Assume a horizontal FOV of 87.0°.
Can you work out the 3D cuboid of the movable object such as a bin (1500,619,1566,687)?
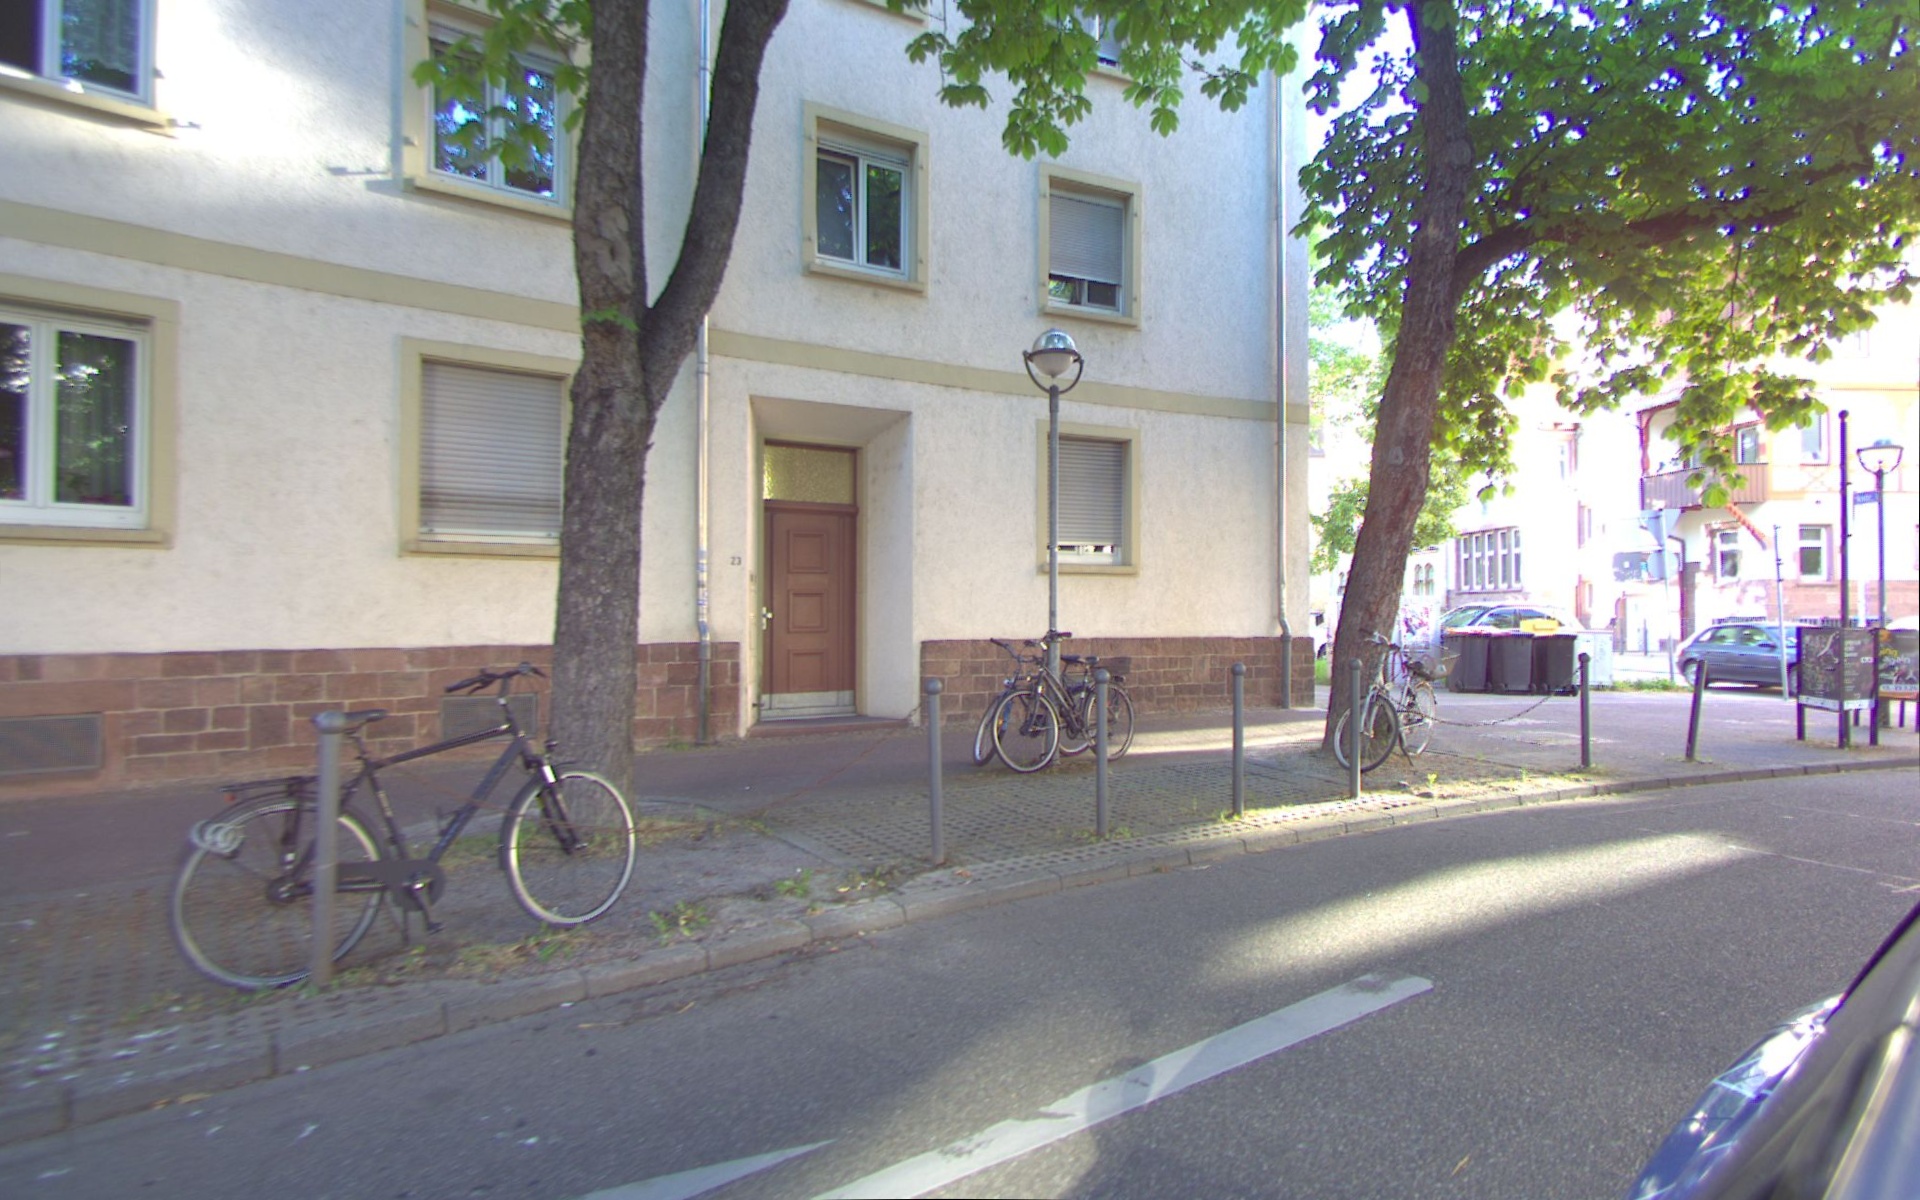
[{"bbox_3d":[10.104,0.920,17.863,0.725,1.167,0.701,0,-1,-2],"label":"movable object such as a bin"}]

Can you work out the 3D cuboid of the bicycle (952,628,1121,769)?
[{"bbox_3d":[0.715,0.824,9.017,1.772,1.123,0.391,1,-2,-42],"label":"bicycle"}]

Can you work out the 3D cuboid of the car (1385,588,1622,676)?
[{"bbox_3d":[11.635,0.697,21.834,4.036,1.735,2.026,1,-2,-6],"label":"car"}]

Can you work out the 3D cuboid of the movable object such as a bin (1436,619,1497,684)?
[{"bbox_3d":[9.311,0.928,18.622,0.725,1.167,0.701,0,-1,-2],"label":"movable object such as a bin"}]

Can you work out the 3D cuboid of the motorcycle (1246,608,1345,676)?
[{"bbox_3d":[6.715,0.820,20.403,0.958,1.296,2.186,1,-1,-11],"label":"motorcycle"}]

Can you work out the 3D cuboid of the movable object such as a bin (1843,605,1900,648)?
[{"bbox_3d":[28.684,0.835,31.855,1.182,1.327,0.631,-1,-1,0],"label":"movable object such as a bin"}]

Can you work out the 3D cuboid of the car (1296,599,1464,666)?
[{"bbox_3d":[10.887,0.837,26.431,3.636,1.672,1.703,0,-1,2],"label":"car"}]

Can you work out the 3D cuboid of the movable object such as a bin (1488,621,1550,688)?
[{"bbox_3d":[9.417,0.907,17.071,0.618,1.089,0.705,0,-1,-2],"label":"movable object such as a bin"}]

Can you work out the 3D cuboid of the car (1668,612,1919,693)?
[{"bbox_3d":[16.261,0.938,19.761,1.760,1.413,4.255,0,-1,-2],"label":"car"}]

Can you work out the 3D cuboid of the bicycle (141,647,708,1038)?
[{"bbox_3d":[-2.100,0.823,4.162,1.965,1.173,0.681,0,0,-40],"label":"bicycle"}]

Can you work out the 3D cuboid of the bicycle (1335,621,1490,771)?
[{"bbox_3d":[4.050,0.791,8.995,1.759,1.197,0.554,1,-1,-41],"label":"bicycle"}]

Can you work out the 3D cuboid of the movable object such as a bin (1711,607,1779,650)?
[{"bbox_3d":[24.722,0.880,31.896,1.357,1.315,0.966,-1,-1,8],"label":"movable object such as a bin"}]

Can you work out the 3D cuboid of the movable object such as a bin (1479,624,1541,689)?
[{"bbox_3d":[10.126,1.032,18.661,0.725,1.167,0.716,0,-1,-2],"label":"movable object such as a bin"}]

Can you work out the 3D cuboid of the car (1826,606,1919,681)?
[{"bbox_3d":[20.948,0.910,21.494,1.677,1.504,3.798,-2,-1,-2],"label":"car"}]

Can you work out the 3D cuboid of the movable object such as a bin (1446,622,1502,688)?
[{"bbox_3d":[8.752,0.924,17.254,0.581,1.097,0.674,0,-1,-3],"label":"movable object such as a bin"}]

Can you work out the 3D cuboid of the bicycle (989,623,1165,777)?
[{"bbox_3d":[1.043,0.802,8.735,1.753,1.196,0.438,1,-1,-41],"label":"bicycle"}]

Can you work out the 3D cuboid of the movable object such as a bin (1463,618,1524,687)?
[{"bbox_3d":[9.379,0.915,17.817,0.621,1.168,0.701,-2,-2,-2],"label":"movable object such as a bin"}]

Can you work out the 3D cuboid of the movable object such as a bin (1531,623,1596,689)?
[{"bbox_3d":[10.178,0.937,17.076,0.646,1.078,0.694,0,-1,-2],"label":"movable object such as a bin"}]

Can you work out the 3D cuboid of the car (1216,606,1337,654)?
[{"bbox_3d":[10.668,1.021,34.269,3.531,1.525,1.678,1,-2,-1],"label":"car"}]

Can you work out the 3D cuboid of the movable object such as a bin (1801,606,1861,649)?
[{"bbox_3d":[27.422,0.853,31.869,1.356,1.334,0.688,-1,-1,-9],"label":"movable object such as a bin"}]
